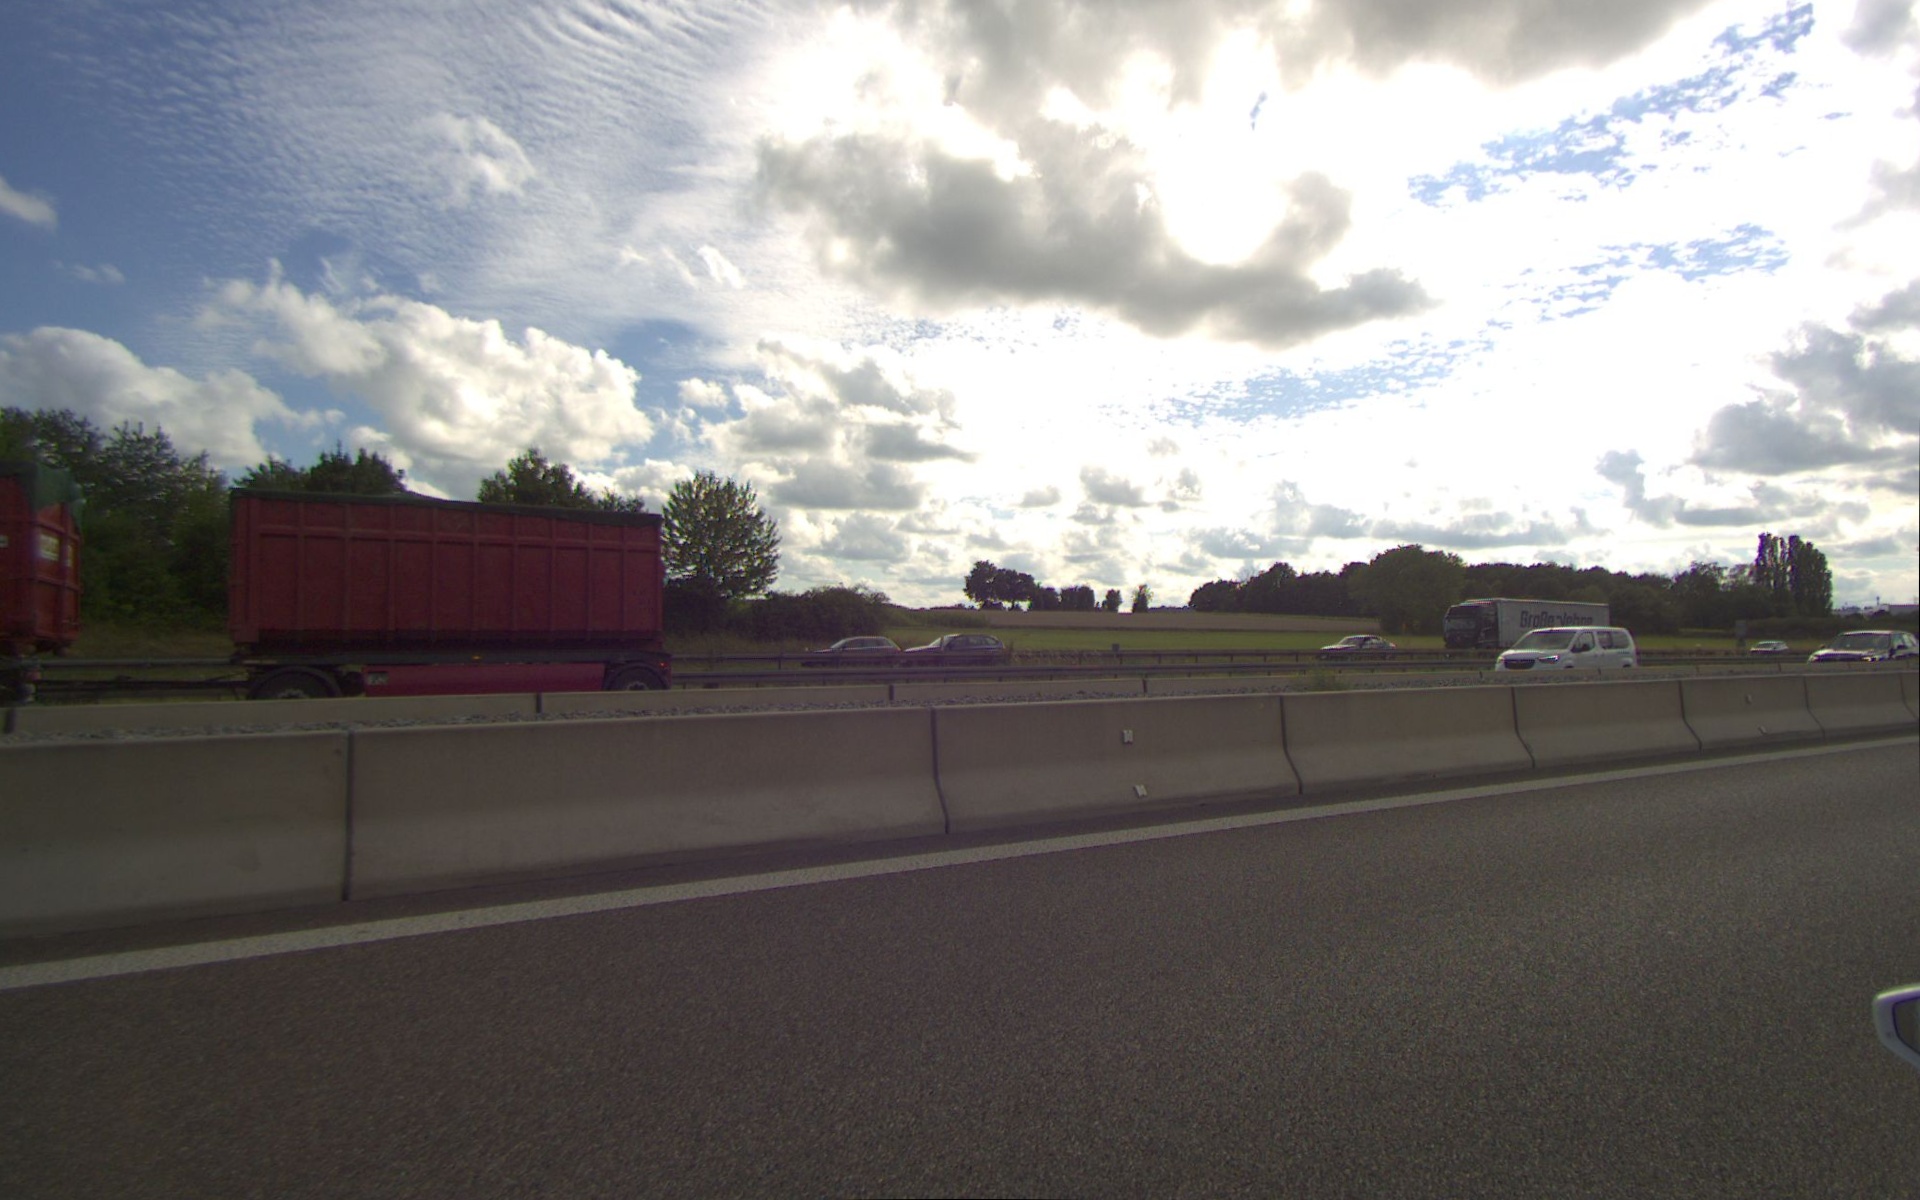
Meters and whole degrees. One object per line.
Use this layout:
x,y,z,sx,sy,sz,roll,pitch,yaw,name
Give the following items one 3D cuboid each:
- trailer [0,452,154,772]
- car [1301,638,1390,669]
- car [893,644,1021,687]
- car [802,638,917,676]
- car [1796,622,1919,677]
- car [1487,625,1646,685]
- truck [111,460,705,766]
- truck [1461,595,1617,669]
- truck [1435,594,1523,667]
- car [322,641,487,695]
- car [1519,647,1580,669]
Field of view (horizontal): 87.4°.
-17.340,0.108,12.837,10.532,4.345,3.032,1,-2,-31,trailer
18.923,2.582,49.307,4.469,1.427,1.706,1,-1,-31,car
-0.091,2.560,39.982,4.885,1.552,1.754,1,-1,-31,car
-4.397,2.464,44.174,4.752,1.585,1.737,1,-1,-32,car
27.381,1.466,30.328,4.884,1.552,1.755,1,-1,-30,car
17.017,1.498,28.096,4.885,1.552,1.755,1,-1,-31,car
-9.150,0.291,17.795,8.489,4.345,3.032,1,-2,-31,truck
41.033,2.269,70.906,13.960,4.866,3.060,2,-1,-30,truck
34.759,2.029,67.293,5.011,4.720,3.033,1,-1,-29,truck
-17.436,2.103,31.670,4.401,1.554,1.720,2,-1,-31,car
37.999,3.737,64.702,4.064,1.330,1.601,1,-1,-30,car
